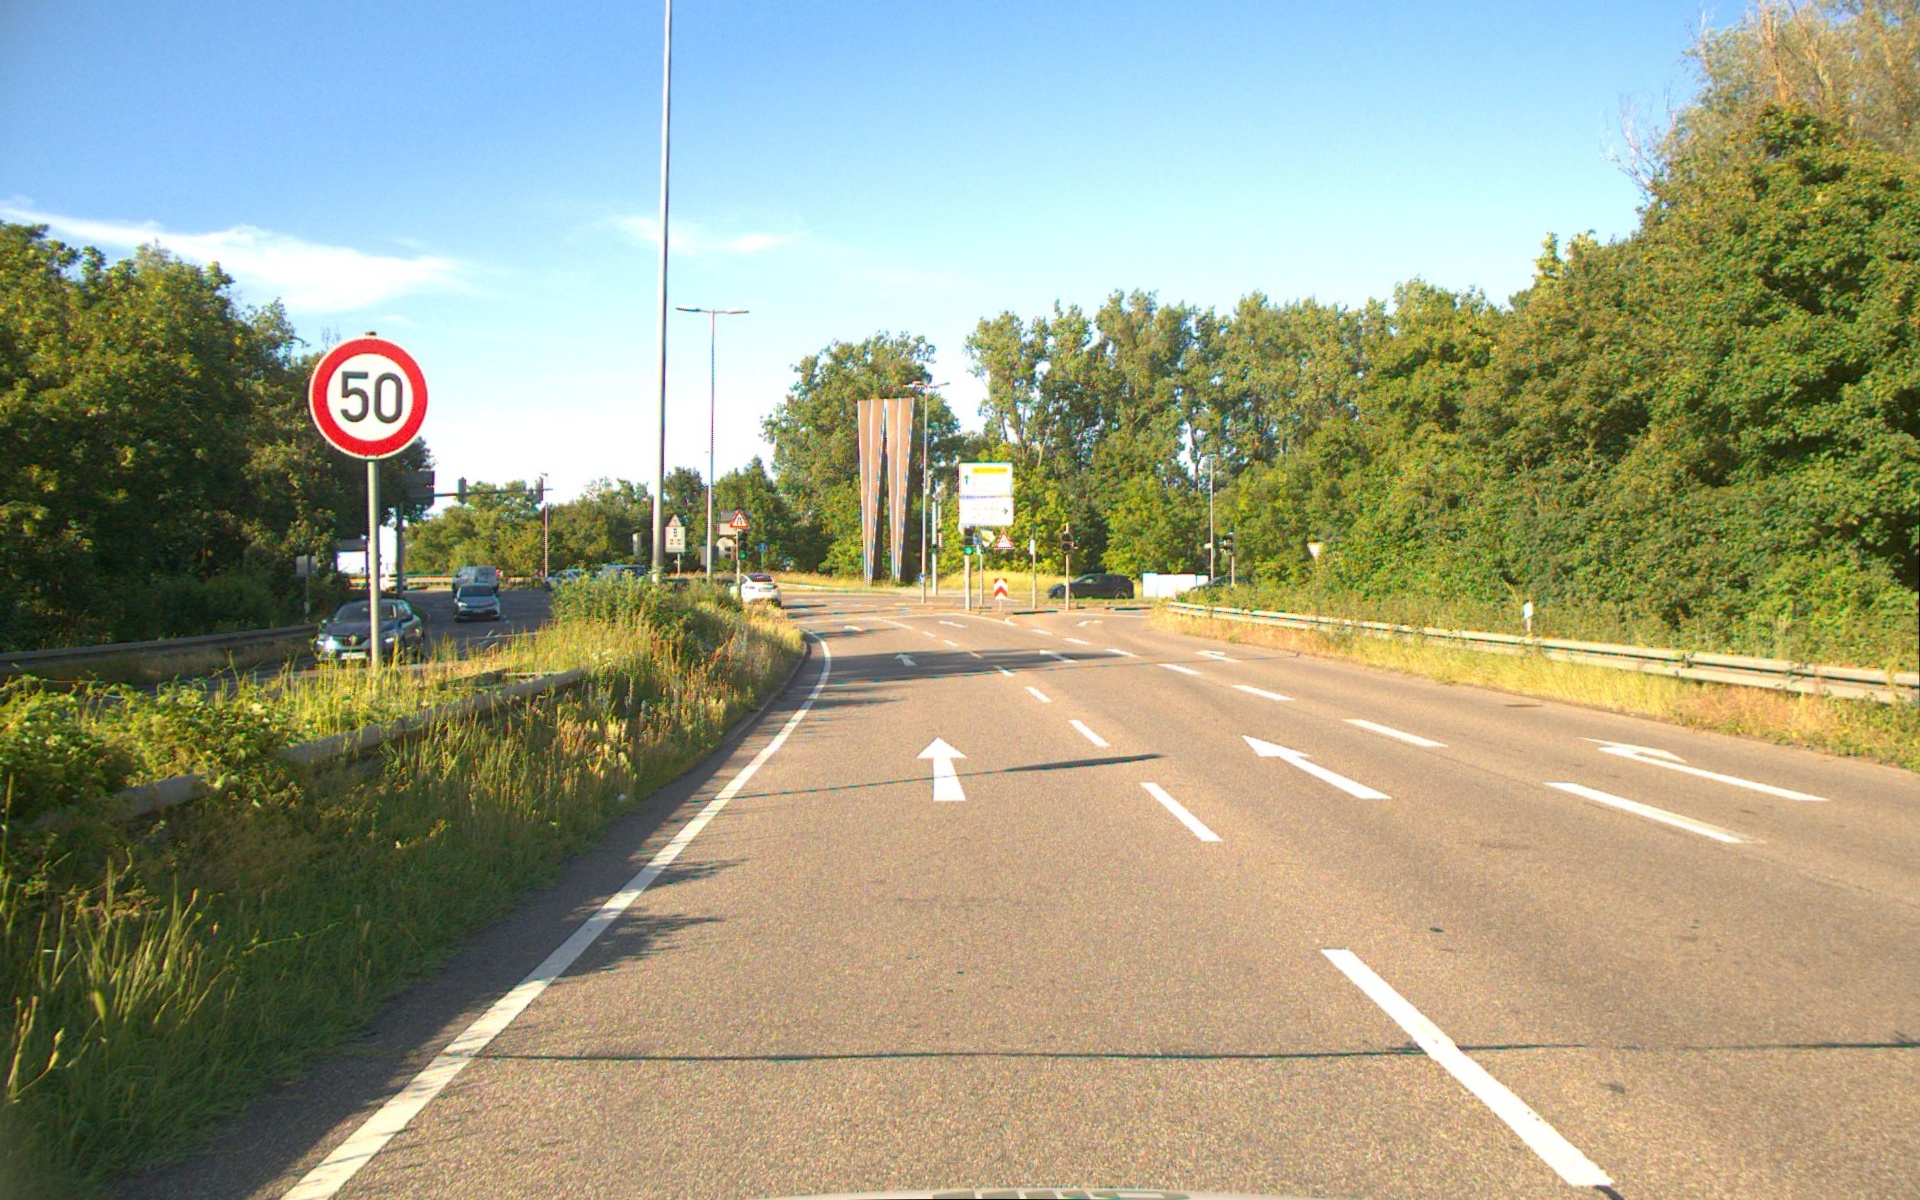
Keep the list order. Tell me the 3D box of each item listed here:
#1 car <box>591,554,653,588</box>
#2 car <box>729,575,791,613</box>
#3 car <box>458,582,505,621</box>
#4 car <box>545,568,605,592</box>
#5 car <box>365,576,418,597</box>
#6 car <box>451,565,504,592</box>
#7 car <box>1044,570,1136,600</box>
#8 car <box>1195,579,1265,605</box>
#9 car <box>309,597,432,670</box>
[{"bbox_3d":[-19.681,-1.700,96.154,1.978,1.912,4.196,-2,1,-36],"label":"car"},{"bbox_3d":[-9.444,-0.308,77.822,1.965,1.668,4.103,-1,1,-21],"label":"car"},{"bbox_3d":[-20.454,0.045,70.650,1.855,1.547,4.197,-2,1,-17],"label":"car"},{"bbox_3d":[-25.266,-1.304,108.463,4.085,1.500,1.962,1,2,45],"label":"car"},{"bbox_3d":[-43.464,-1.028,126.404,3.928,1.534,2.261,0,1,41],"label":"car"},{"bbox_3d":[-32.608,-1.467,111.801,1.958,1.728,3.940,-2,2,-41],"label":"car"},{"bbox_3d":[6.640,-0.794,84.550,4.377,1.489,1.996,0,2,-10],"label":"car"},{"bbox_3d":[15.153,-0.477,93.017,3.618,1.411,1.609,-1,1,-4],"label":"car"},{"bbox_3d":[-13.321,0.717,37.639,1.852,1.445,4.354,-3,1,-10],"label":"car"}]
